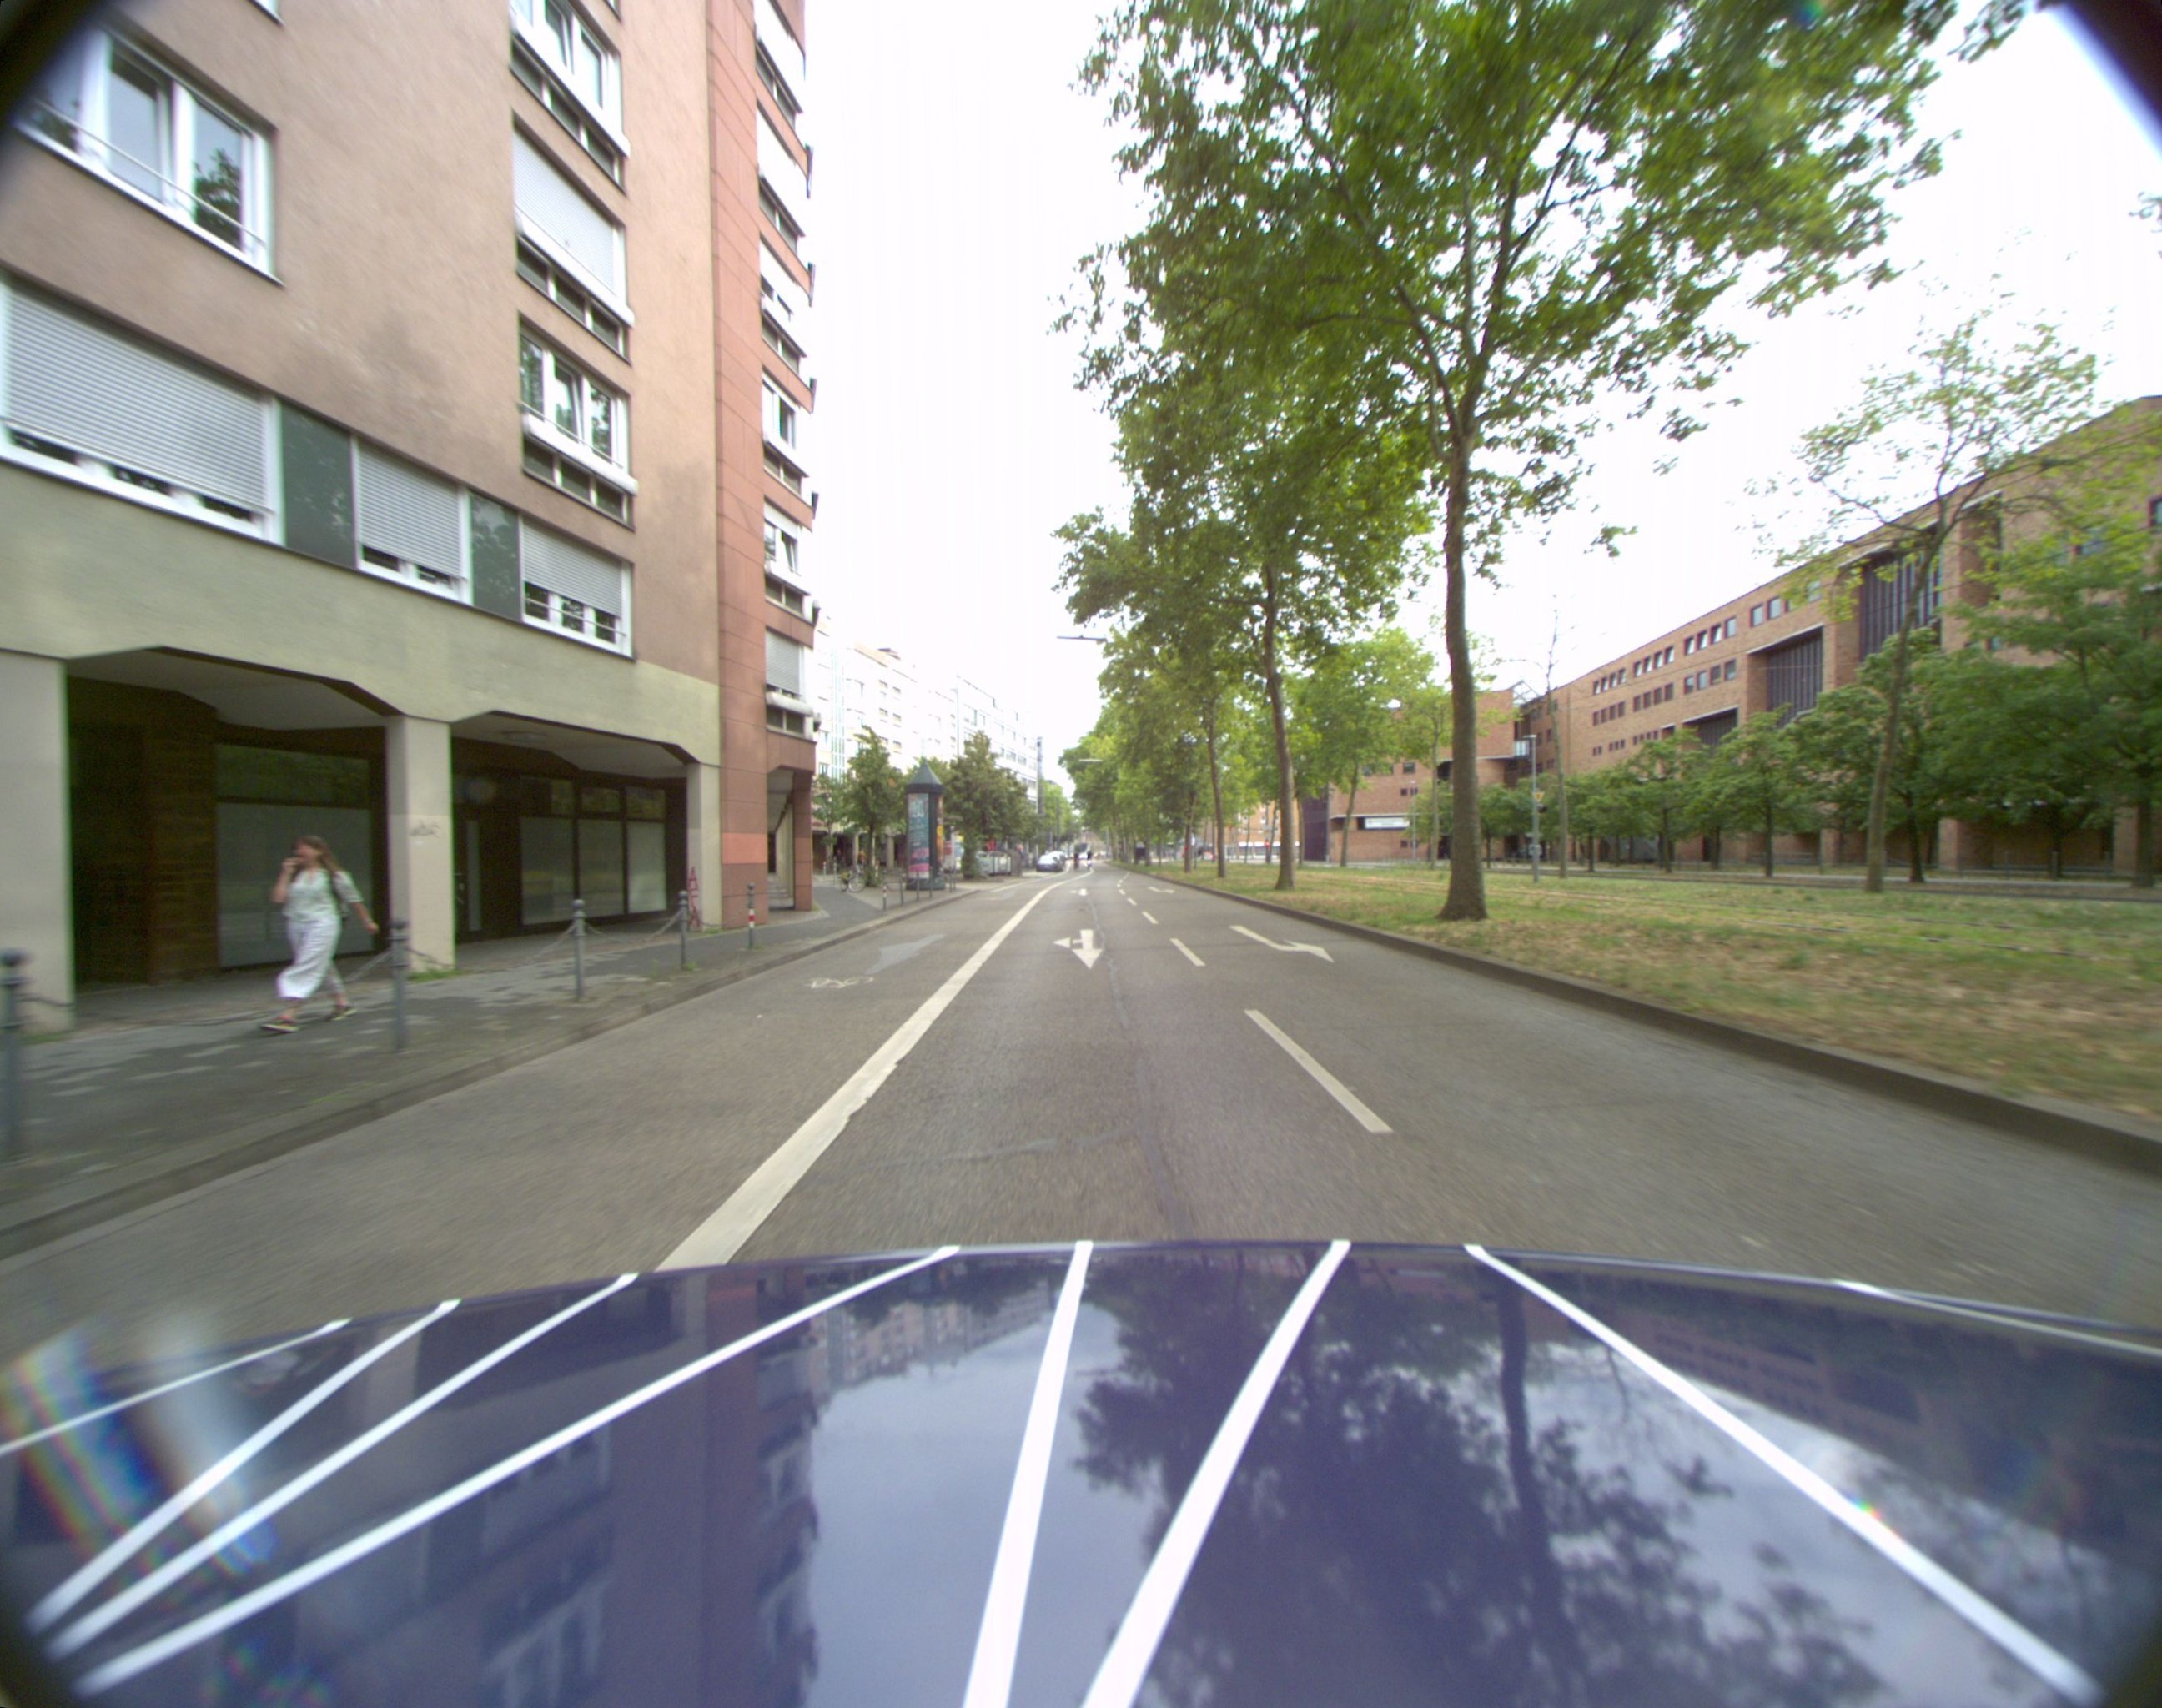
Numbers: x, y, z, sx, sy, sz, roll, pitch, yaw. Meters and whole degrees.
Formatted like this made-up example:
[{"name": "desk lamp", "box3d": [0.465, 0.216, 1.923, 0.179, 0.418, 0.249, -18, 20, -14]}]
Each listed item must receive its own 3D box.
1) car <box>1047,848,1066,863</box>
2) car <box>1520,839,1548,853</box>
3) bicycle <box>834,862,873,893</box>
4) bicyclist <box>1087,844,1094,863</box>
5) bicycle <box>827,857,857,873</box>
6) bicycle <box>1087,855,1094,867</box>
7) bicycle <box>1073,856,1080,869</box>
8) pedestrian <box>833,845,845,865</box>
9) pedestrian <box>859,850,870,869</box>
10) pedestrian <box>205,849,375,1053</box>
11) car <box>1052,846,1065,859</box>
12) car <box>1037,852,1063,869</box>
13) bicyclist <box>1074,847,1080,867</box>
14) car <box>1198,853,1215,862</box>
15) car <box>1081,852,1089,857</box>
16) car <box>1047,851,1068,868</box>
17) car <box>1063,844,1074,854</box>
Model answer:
[{"name": "car", "box3d": [-2.778, 0.186, 88.441, 1.865, 1.643, 4.164, 1, 0, 3]}, {"name": "car", "box3d": [59.282, -0.988, 99.552, 1.896, 1.797, 4.003, 0, 0, 11]}, {"name": "bicycle", "box3d": [-8.832, 0.886, 29.443, 1.660, 1.122, 0.672, 1, 2, 42]}, {"name": "bicyclist", "box3d": [0.871, -0.054, 70.383, 0.591, 1.760, 1.035, 0, 1, 0]}, {"name": "bicycle", "box3d": [-17.218, 0.751, 54.806, 1.968, 1.106, 0.595, -1, 1, -45]}, {"name": "bicycle", "box3d": [0.865, 0.623, 70.426, 0.595, 1.132, 1.858, 0, 0, 0]}, {"name": "bicycle", "box3d": [-0.365, 0.731, 67.963, 0.595, 1.132, 2.091, 0, 0, 0]}, {"name": "pedestrian", "box3d": [-19.847, 0.097, 62.290, 0.606, 1.653, 0.682, -1, 1, 10]}, {"name": "pedestrian", "box3d": [-18.470, 0.471, 64.933, 0.534, 1.653, 0.851, 0, 1, 12]}, {"name": "pedestrian", "box3d": [-6.751, 0.784, 6.533, 0.545, 1.640, 0.825, -1, 1, 1]}, {"name": "car", "box3d": [-3.355, -0.218, 112.480, 1.832, 1.853, 4.646, -1, 1, -3]}, {"name": "car", "box3d": [-2.686, 0.533, 66.688, 1.821, 1.434, 4.666, 1, 0, 2]}, {"name": "bicyclist", "box3d": [-0.363, 0.300, 68.049, 0.591, 1.758, 1.035, 0, 1, 0]}, {"name": "car", "box3d": [20.500, 0.554, 124.274, 1.788, 1.413, 4.657, 0, 0, -1]}, {"name": "car", "box3d": [1.103, 0.097, 193.664, 1.845, 1.369, 3.835, 0, -1, 5]}, {"name": "car", "box3d": [-2.236, 0.520, 72.819, 1.744, 1.510, 4.401, 1, 0, 1]}, {"name": "car", "box3d": [-3.241, -1.179, 192.968, 2.174, 2.441, 6.998, -1, 1, 3]}]
